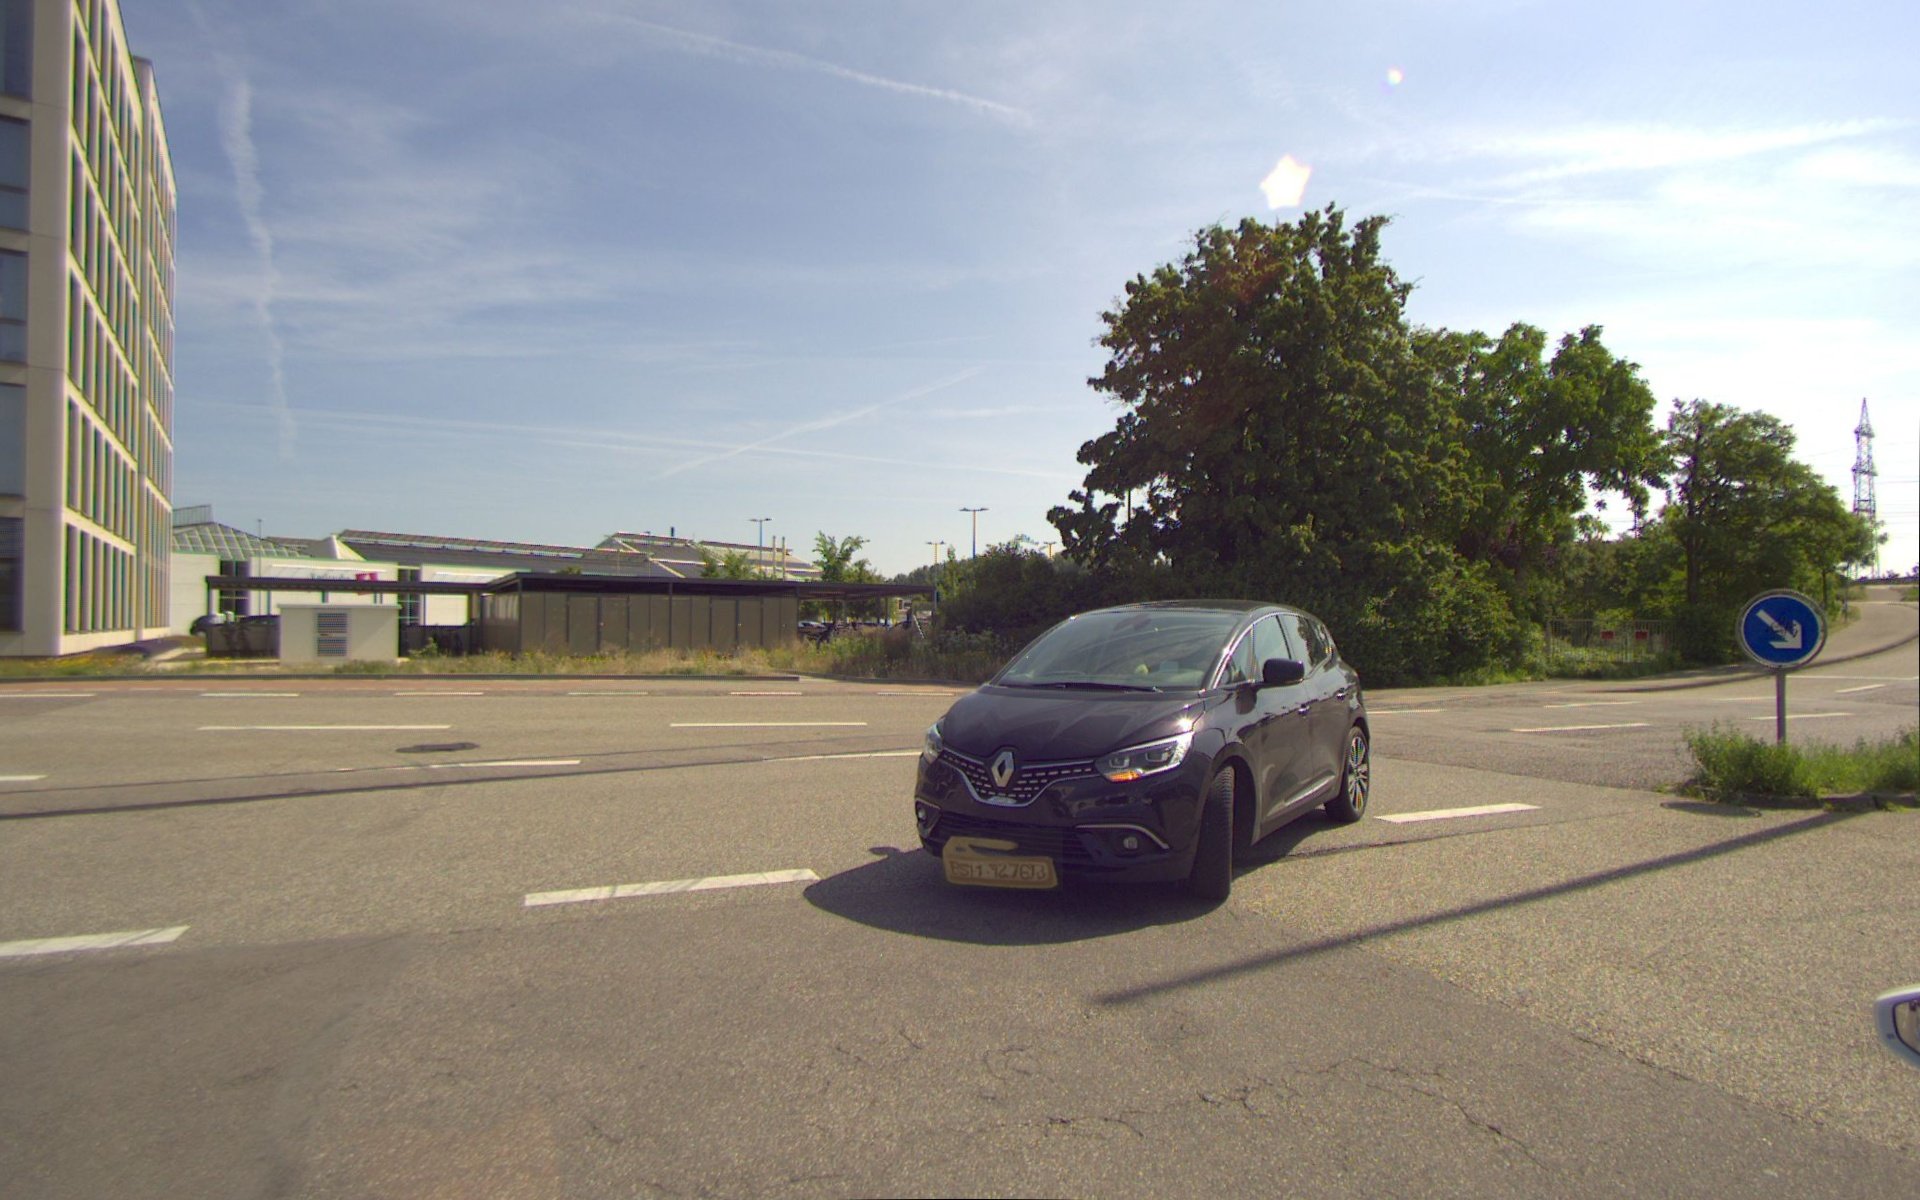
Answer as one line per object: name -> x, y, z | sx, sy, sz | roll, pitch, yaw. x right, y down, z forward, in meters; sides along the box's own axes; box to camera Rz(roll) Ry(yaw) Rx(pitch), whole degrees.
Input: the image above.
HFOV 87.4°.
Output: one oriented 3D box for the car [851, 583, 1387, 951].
car -> 1.387, 0.777, 6.752 | 1.890, 1.627, 4.258 | 0, -1, 35
